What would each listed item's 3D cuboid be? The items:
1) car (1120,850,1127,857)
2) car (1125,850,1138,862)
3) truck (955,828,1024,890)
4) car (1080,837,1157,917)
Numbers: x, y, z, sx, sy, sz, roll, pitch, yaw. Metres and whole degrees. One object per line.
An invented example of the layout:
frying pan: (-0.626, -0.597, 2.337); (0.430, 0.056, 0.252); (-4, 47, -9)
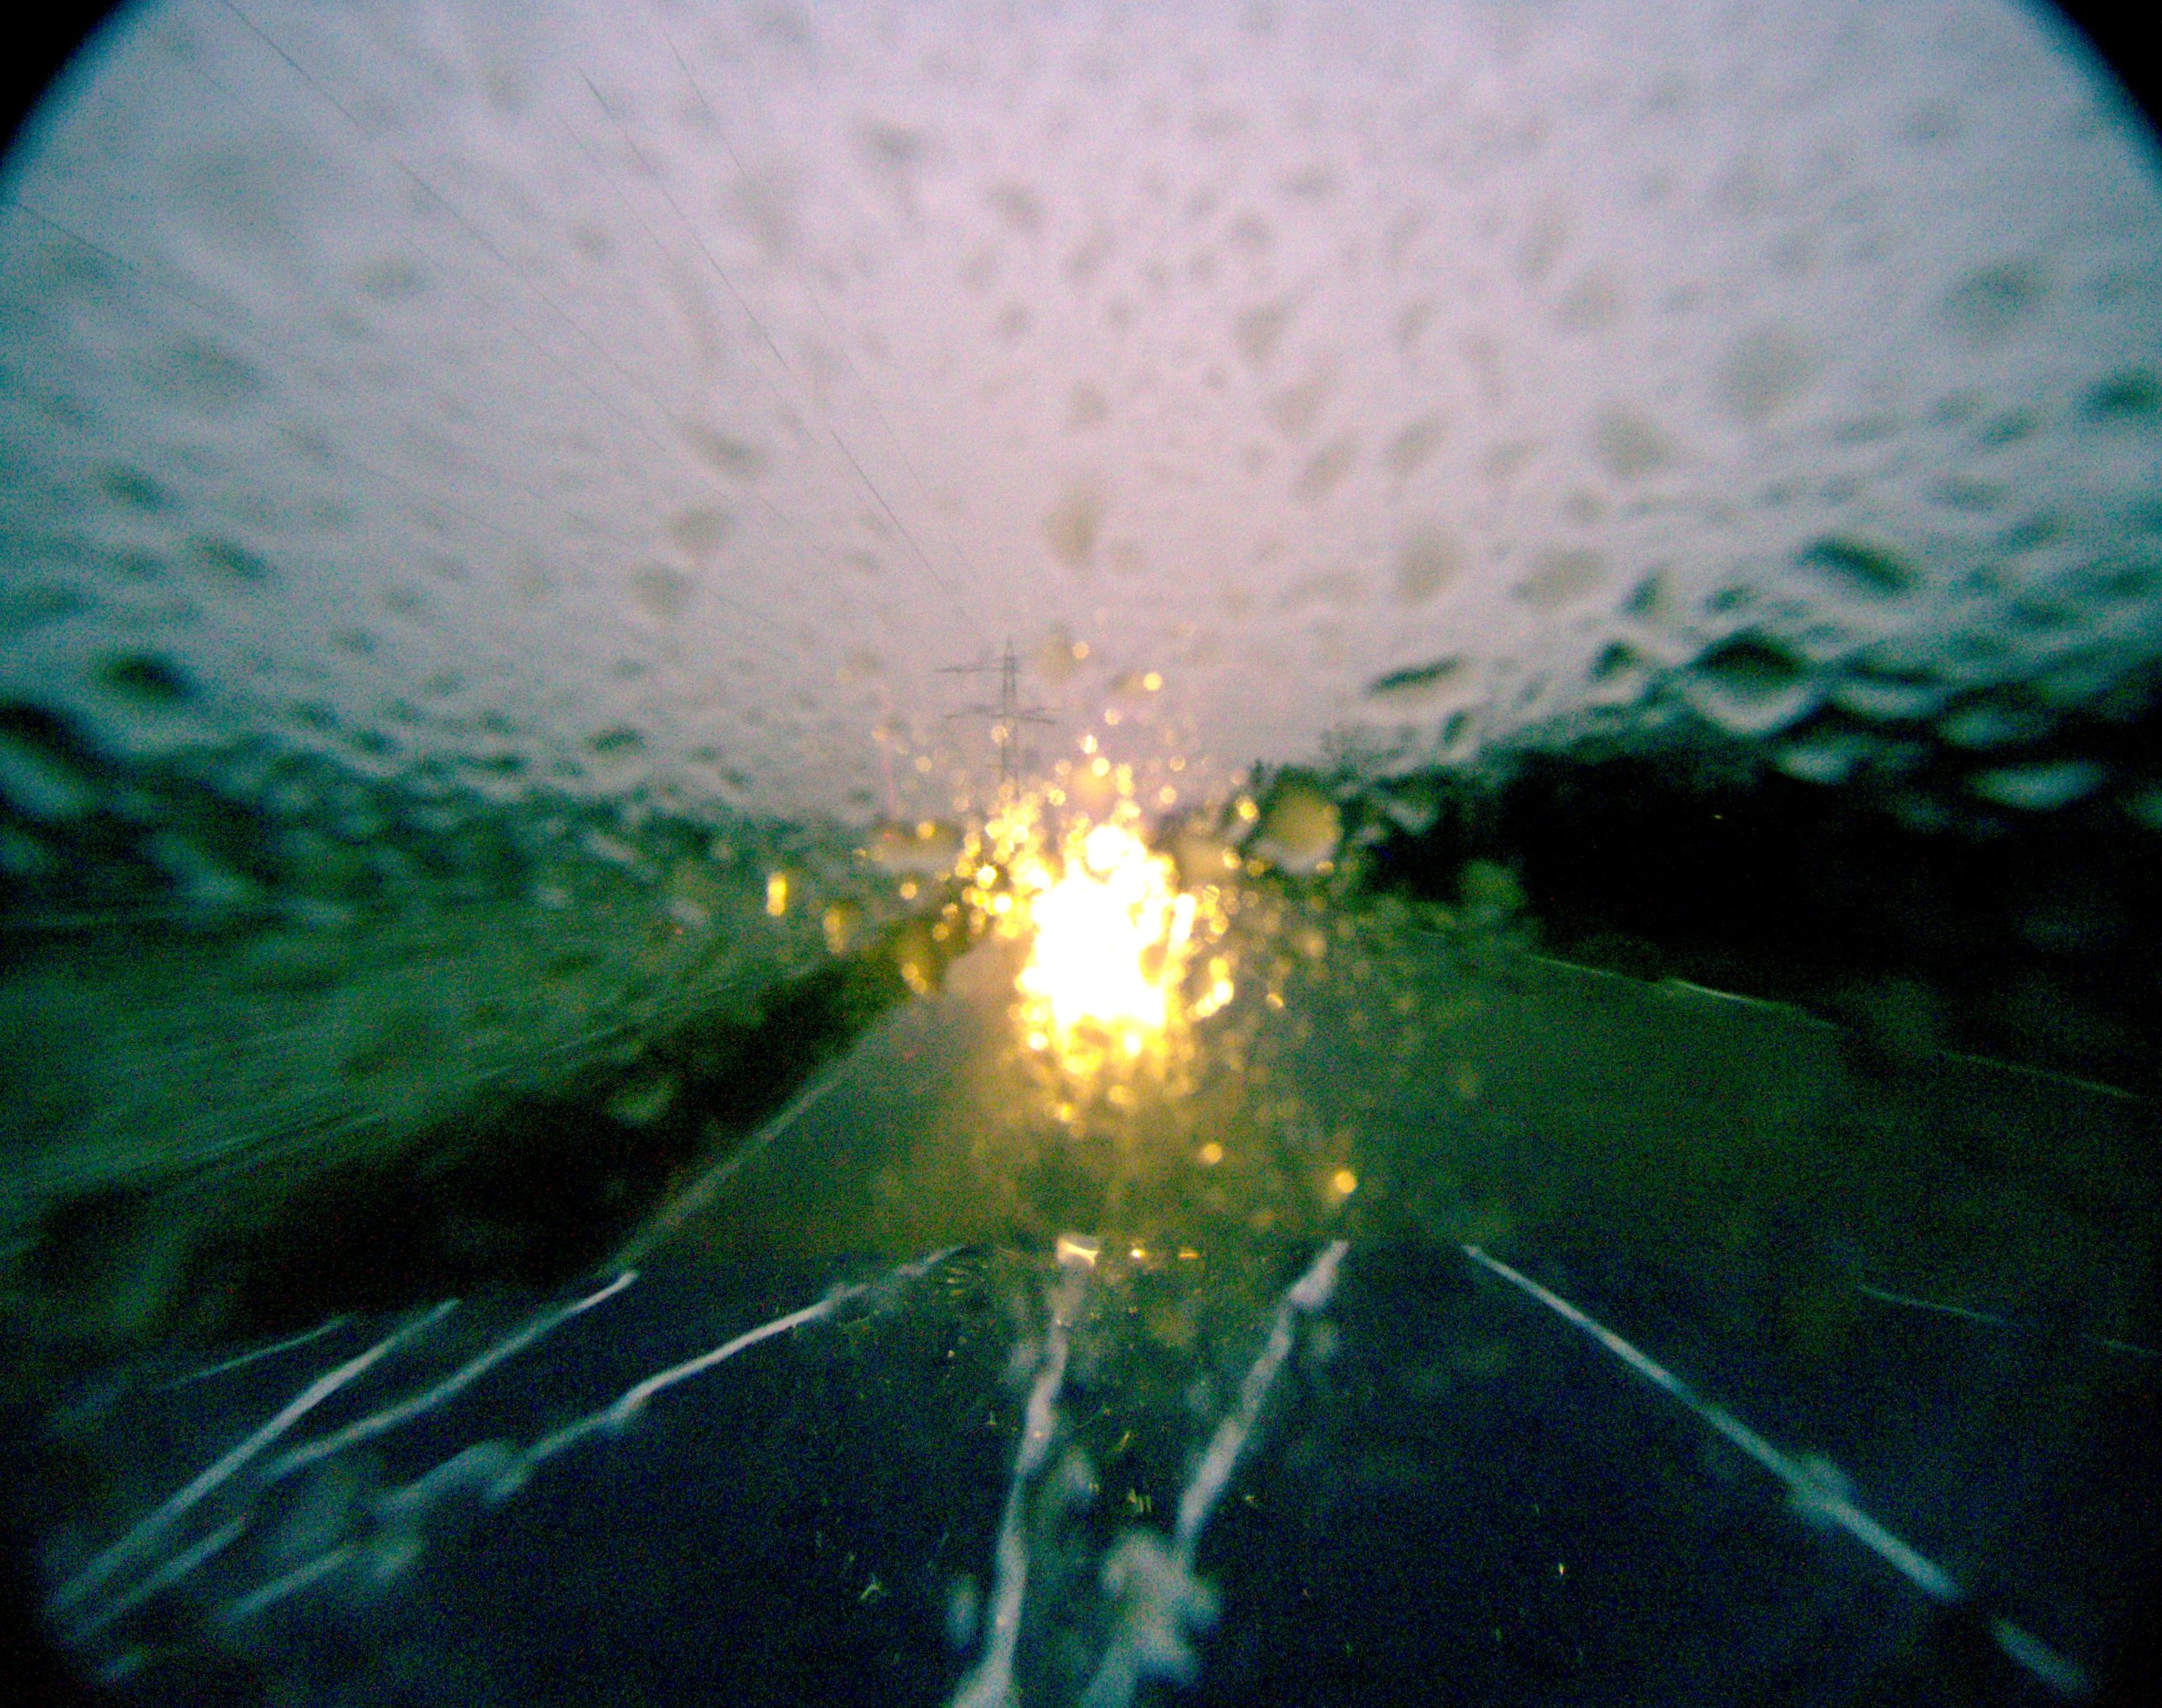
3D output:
car: (9.972, -0.108, 178.494); (1.676, 1.621, 3.976); (-2, 0, 2)
car: (7.253, 0.240, 109.346); (1.773, 1.582, 4.164); (-2, 0, 2)
truck: (-4.794, 0.214, 41.341); (2.540, 2.961, 7.857); (-2, 1, 1)
car: (0.969, 0.571, 21.701); (1.857, 2.002, 3.999); (-2, 1, -1)
